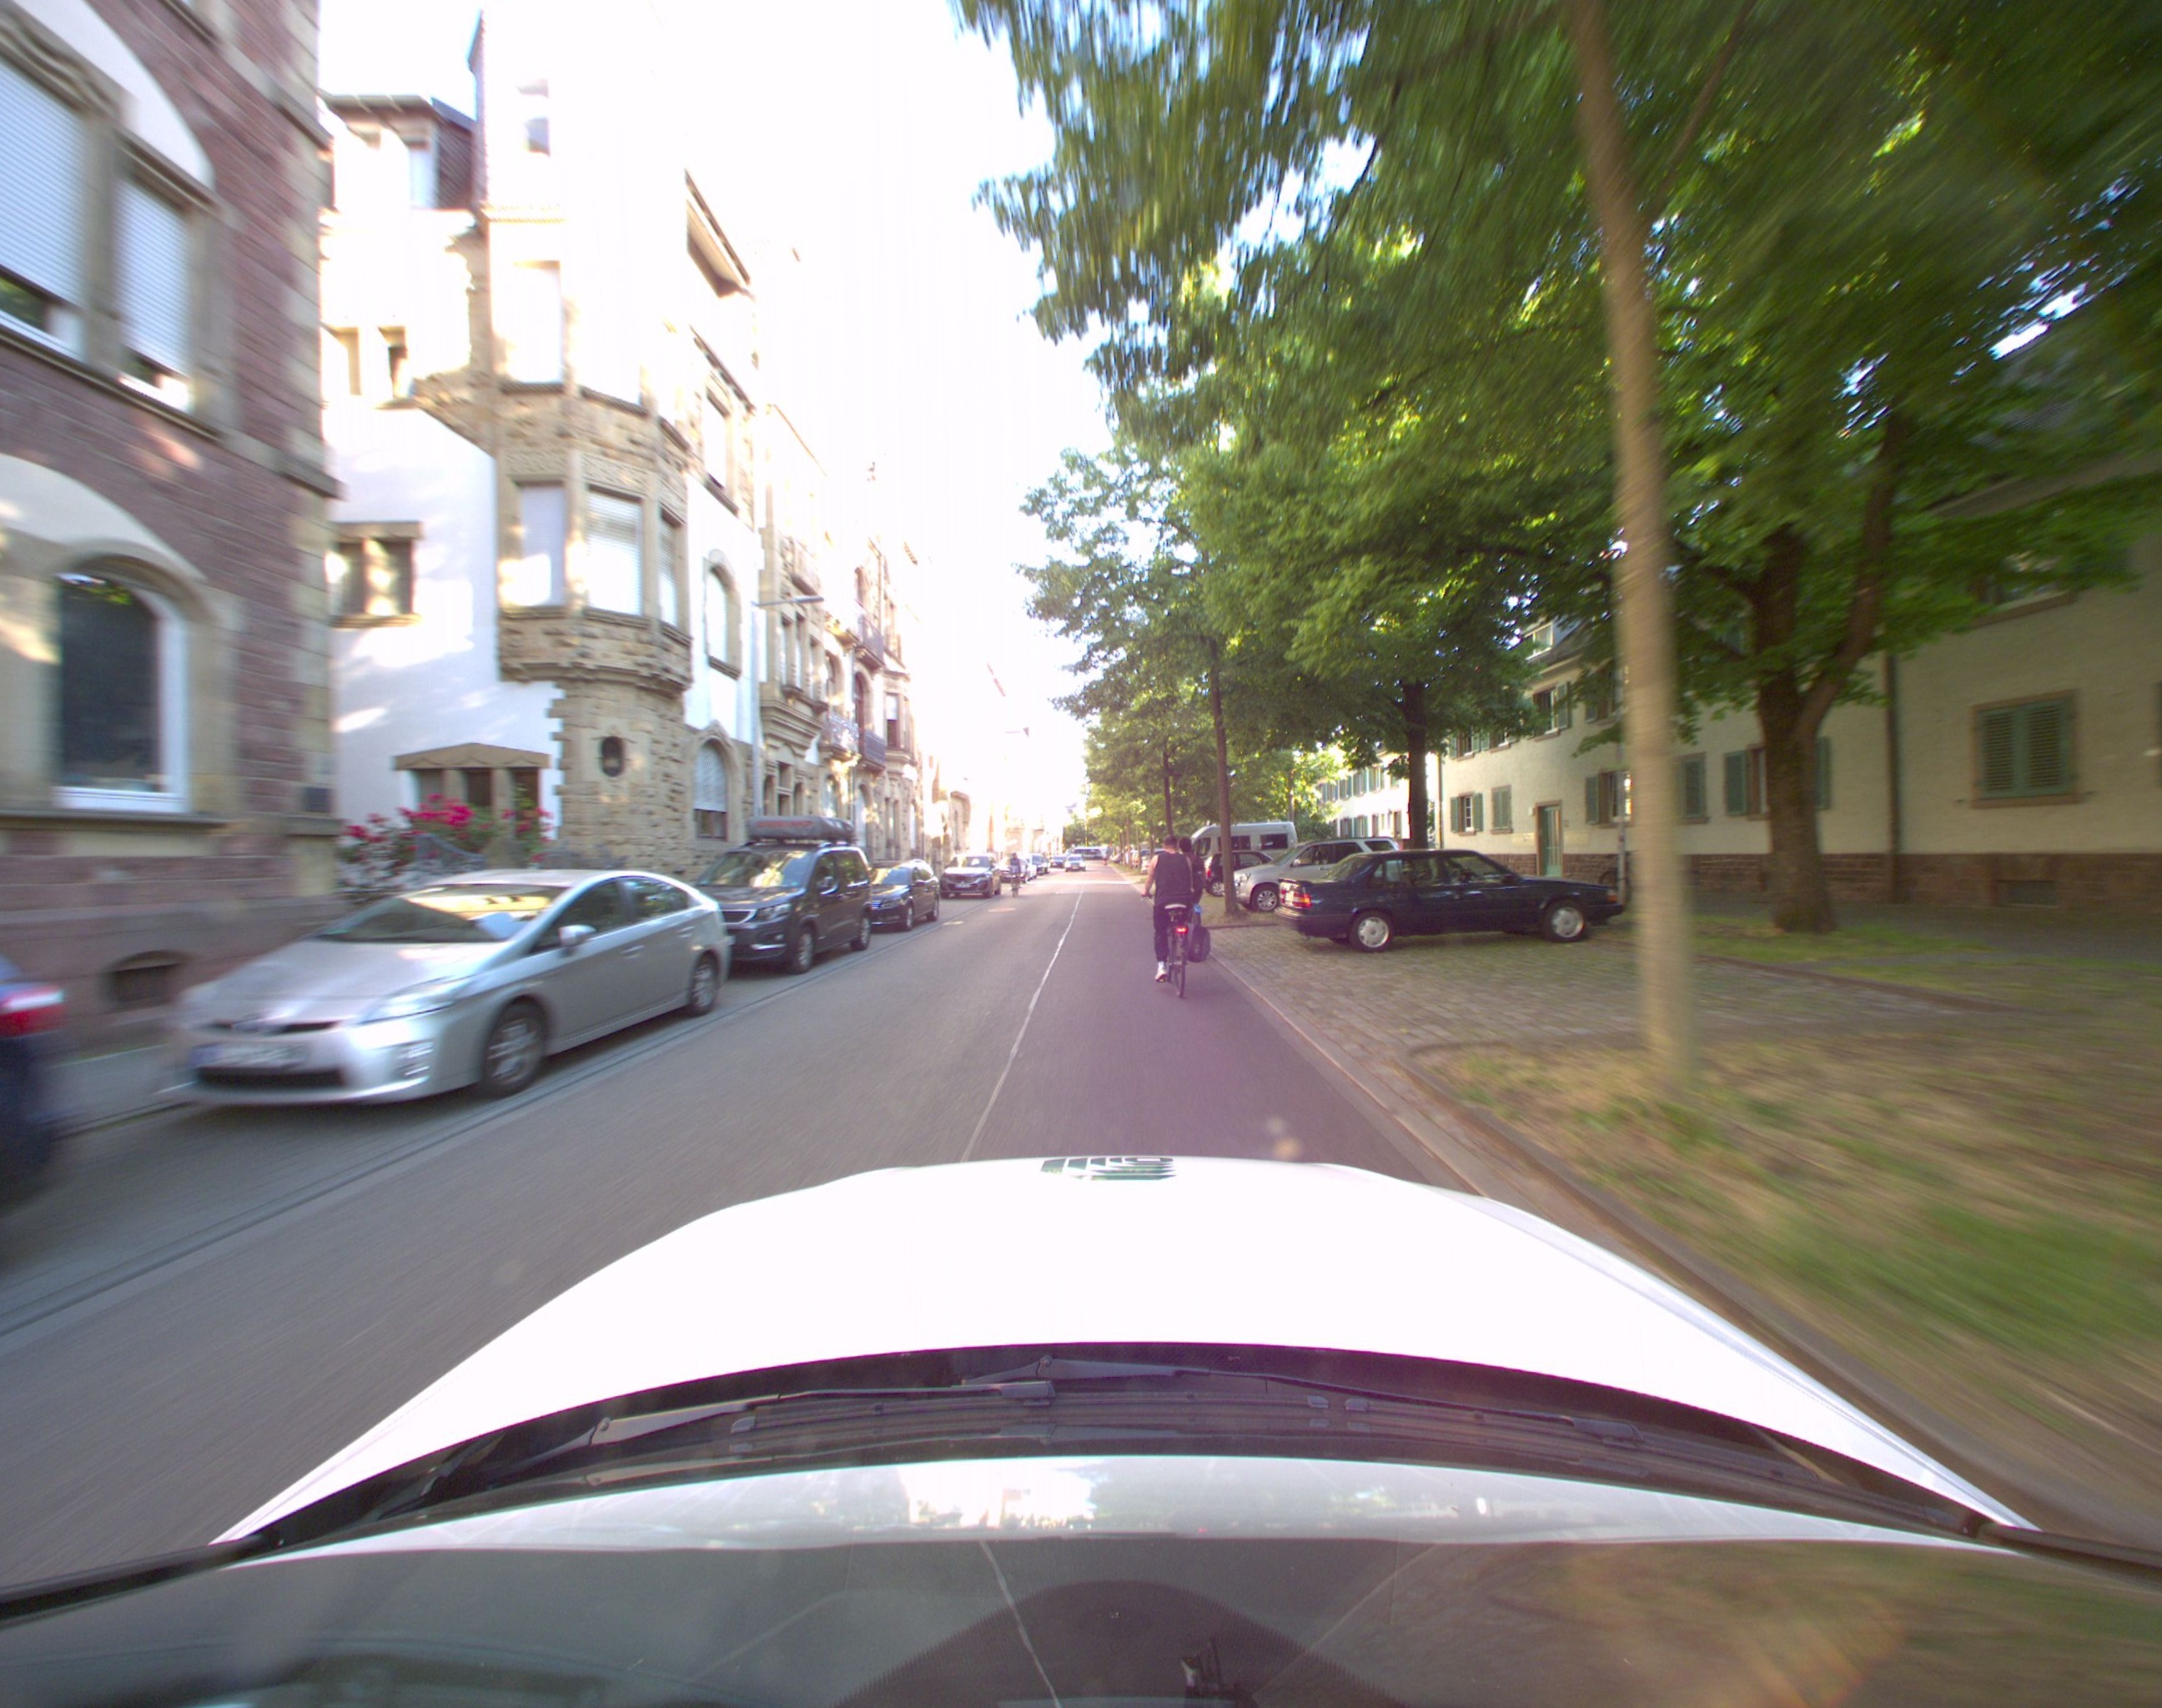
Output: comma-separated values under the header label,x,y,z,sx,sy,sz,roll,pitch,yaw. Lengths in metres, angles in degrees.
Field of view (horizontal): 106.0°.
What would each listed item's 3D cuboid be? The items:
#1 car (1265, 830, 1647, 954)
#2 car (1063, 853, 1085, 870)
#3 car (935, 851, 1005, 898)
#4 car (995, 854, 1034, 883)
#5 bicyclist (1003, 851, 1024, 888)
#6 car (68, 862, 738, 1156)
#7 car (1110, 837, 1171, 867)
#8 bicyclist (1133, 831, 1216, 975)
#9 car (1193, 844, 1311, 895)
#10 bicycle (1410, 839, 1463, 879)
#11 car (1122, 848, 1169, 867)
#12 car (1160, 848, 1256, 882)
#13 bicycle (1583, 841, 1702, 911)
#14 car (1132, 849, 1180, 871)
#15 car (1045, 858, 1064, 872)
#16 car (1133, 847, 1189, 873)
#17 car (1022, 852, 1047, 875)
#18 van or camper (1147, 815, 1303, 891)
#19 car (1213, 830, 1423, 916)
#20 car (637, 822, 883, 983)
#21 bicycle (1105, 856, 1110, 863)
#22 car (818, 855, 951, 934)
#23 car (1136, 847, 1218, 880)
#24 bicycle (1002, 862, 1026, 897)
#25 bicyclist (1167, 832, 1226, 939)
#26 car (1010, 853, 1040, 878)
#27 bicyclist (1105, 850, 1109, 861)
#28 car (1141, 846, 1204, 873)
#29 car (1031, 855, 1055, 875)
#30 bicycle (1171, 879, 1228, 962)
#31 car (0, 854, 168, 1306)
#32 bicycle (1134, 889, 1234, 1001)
label,x,y,z,sx,sy,sz,roll,pitch,yaw
car,5.482,0.550,12.385,4.879,1.442,1.941,-3,-1,-1
car,-0.631,0.716,74.079,1.892,1.486,4.378,-1,-1,-2
car,-4.097,0.753,30.721,2.044,1.622,4.393,-1,-1,-1
car,-3.786,0.798,46.780,1.749,1.517,4.115,2,-1,1
bicyclist,-2.530,0.565,30.611,0.663,1.345,1.059,-3,0,-2
car,-4.549,0.844,6.578,1.724,1.499,4.453,0,0,-1
car,7.426,-0.228,102.002,7.305,3.282,2.224,-3,-1,2
bicyclist,1.038,0.534,9.251,0.705,1.527,0.969,-1,-1,-7
car,5.582,0.522,26.925,3.490,1.472,1.751,-3,-1,0
bicycle,13.274,0.185,30.487,0.800,1.399,1.996,-1,0,-12
car,6.695,0.382,85.287,4.739,1.780,1.855,-3,-1,2
car,6.219,0.544,40.321,4.485,1.453,1.817,-2,-1,2
bicycle,9.971,0.364,14.555,0.627,1.163,1.930,-1,0,-7
car,6.876,0.540,75.137,4.227,1.797,1.855,-3,-1,2
car,-2.974,1.305,92.980,1.987,1.486,3.999,-1,-1,0
car,6.296,0.456,64.660,4.227,1.840,1.855,-3,-1,2
car,-3.532,0.718,61.992,1.625,1.665,3.967,-1,-1,0
van or camper,5.562,-0.024,32.036,5.558,2.536,2.267,-4,-1,-1
car,5.640,0.416,19.785,4.463,1.669,1.942,-4,1,-1
car,-4.479,0.582,12.245,1.963,1.974,4.496,0,0,-1
bicycle,3.083,0.621,95.565,0.539,0.828,1.919,-1,-1,1
car,-4.355,0.861,18.803,1.722,1.574,4.711,-1,-1,2
car,5.317,0.521,45.373,4.232,1.606,1.752,-3,-1,-3
bicycle,-2.519,0.951,30.809,0.751,1.178,2.618,-3,1,-2
bicyclist,1.722,0.457,12.227,0.716,1.527,0.972,-1,-1,0
car,-3.571,0.744,52.418,1.486,1.517,3.775,2,-1,1
bicyclist,3.020,0.177,95.565,0.415,1.350,0.430,-1,-1,1
car,6.373,0.378,57.249,4.227,1.647,1.855,-3,-1,2
car,-3.129,0.903,67.435,1.610,1.482,4.019,2,-1,1
bicycle,1.747,0.946,12.217,0.553,1.073,1.968,-1,0,0
car,-4.723,0.781,1.296,1.724,1.622,4.256,0,-1,-1
bicycle,1.112,0.961,9.270,0.695,1.073,1.964,-1,-1,-6
